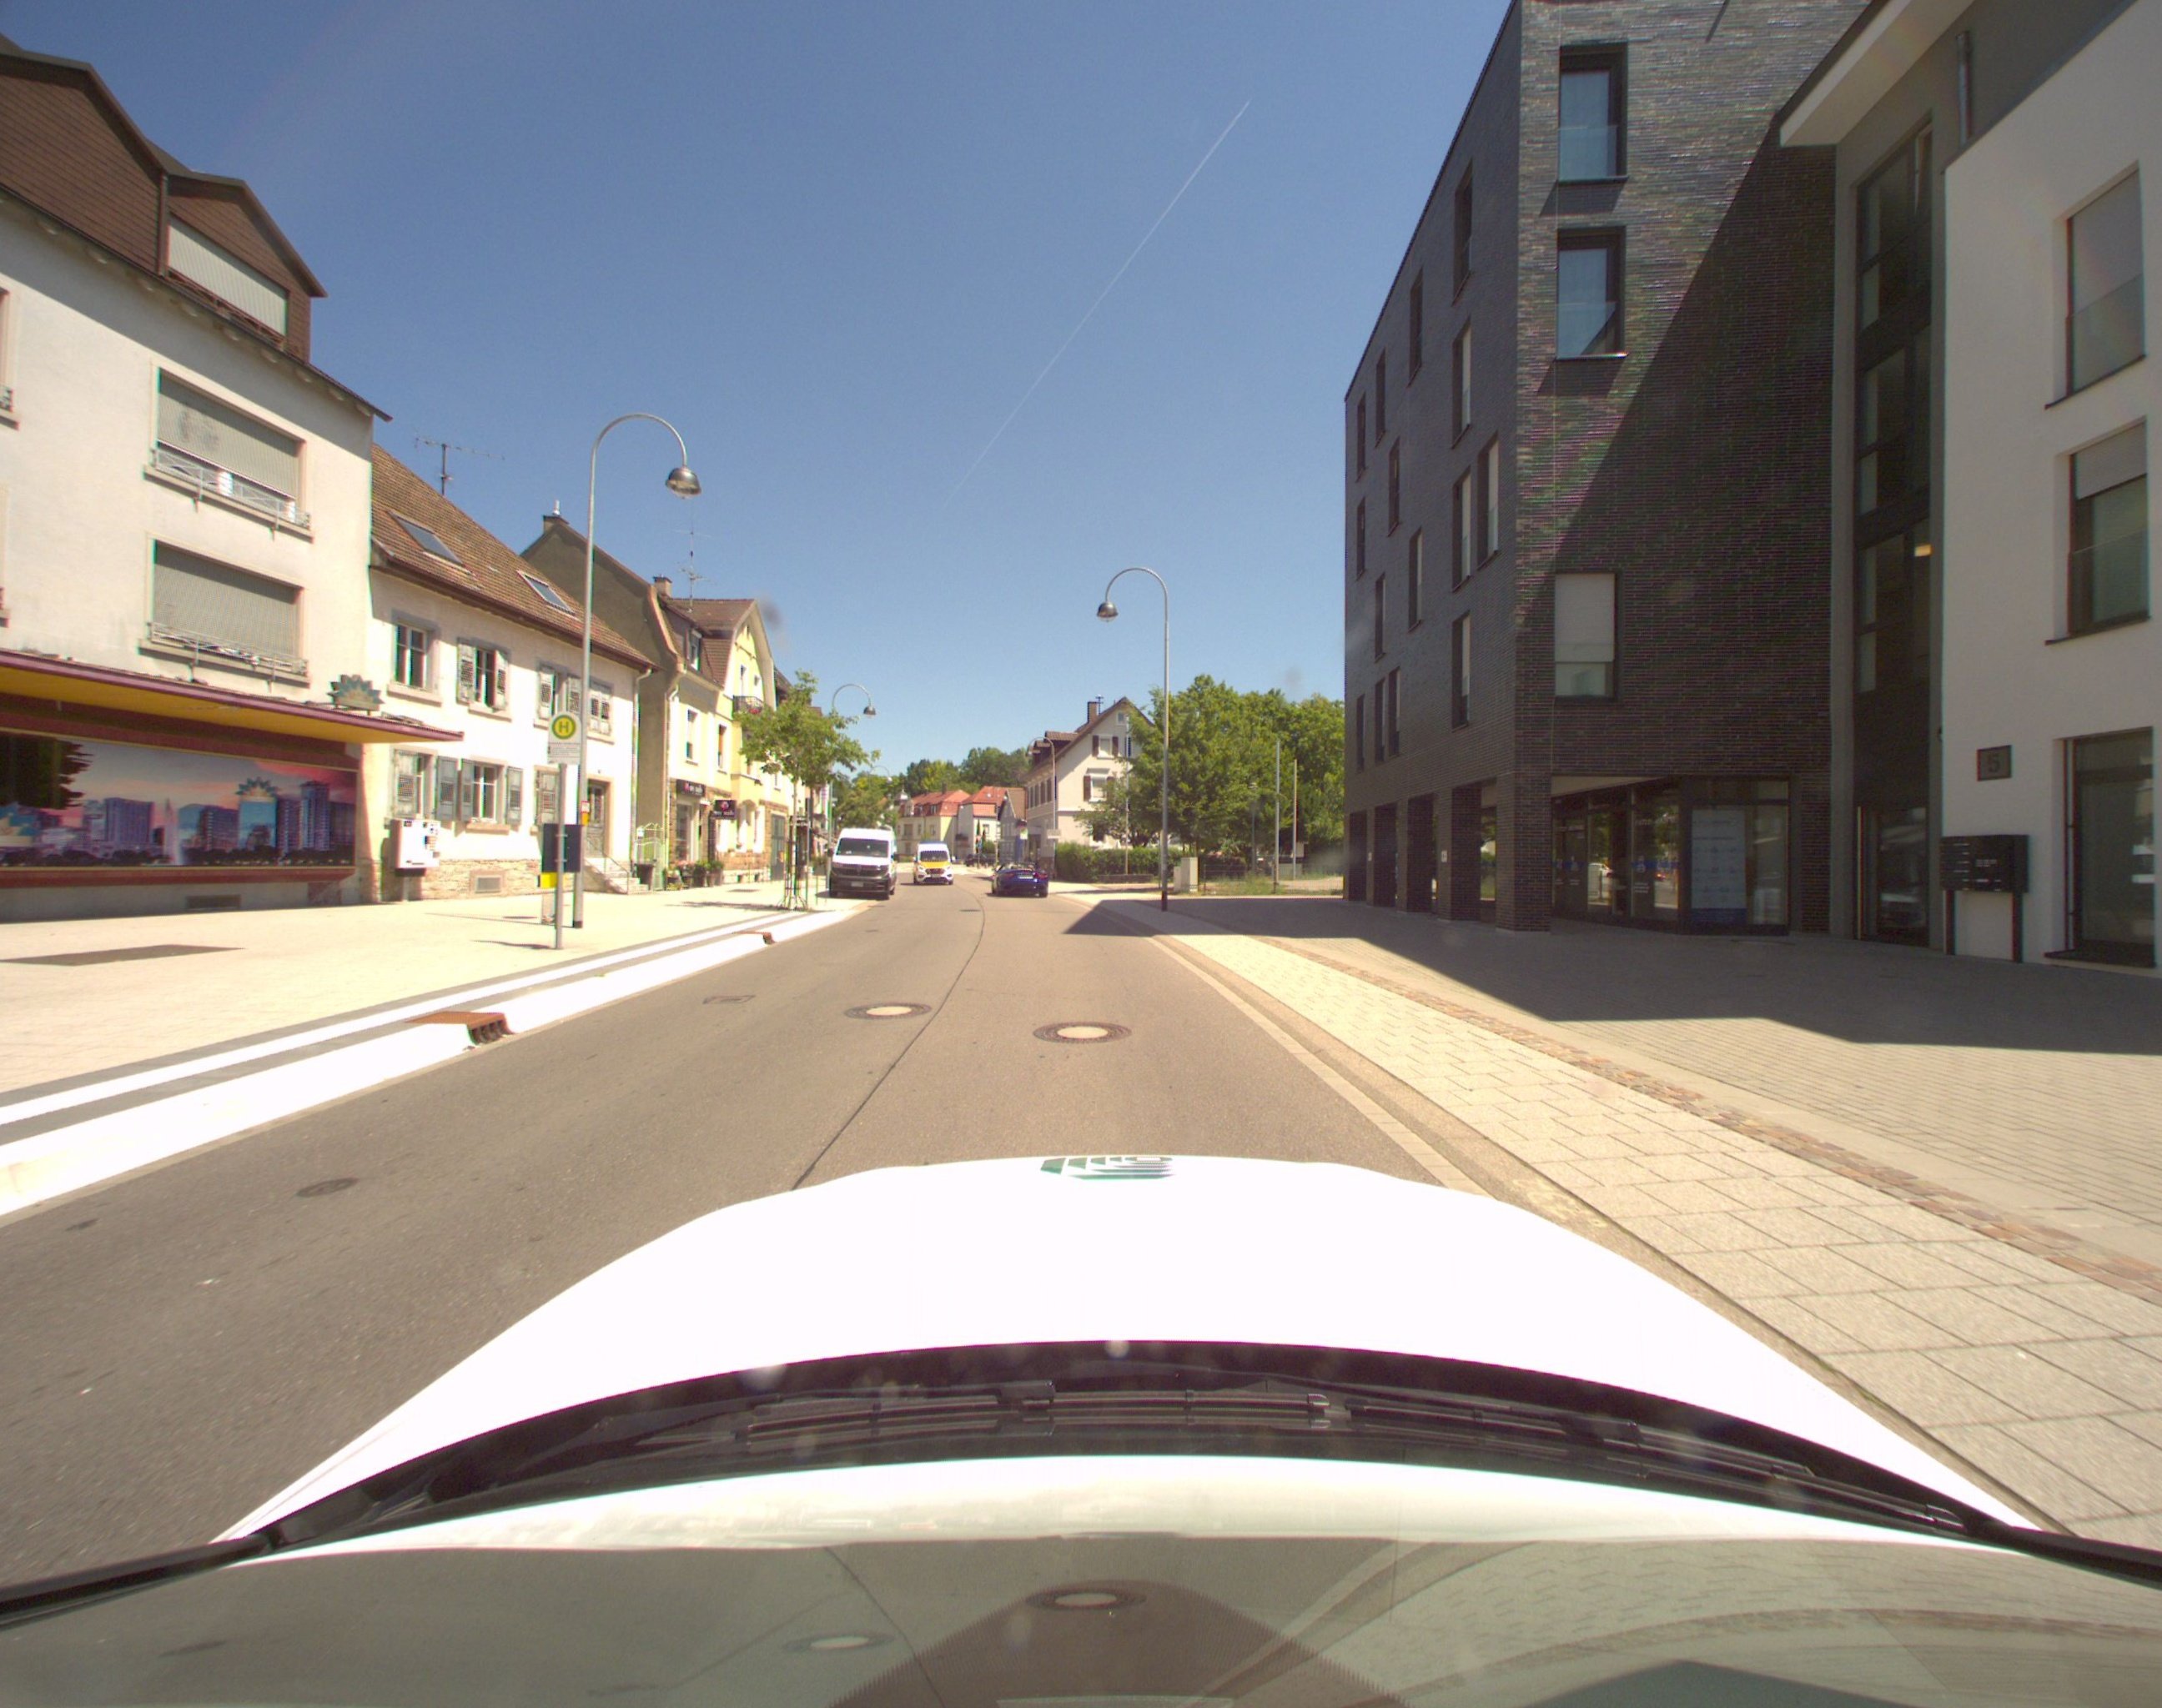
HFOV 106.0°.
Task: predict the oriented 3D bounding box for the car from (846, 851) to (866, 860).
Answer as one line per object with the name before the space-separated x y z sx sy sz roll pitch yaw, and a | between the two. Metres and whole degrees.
car | -40.778 0.334 147.435 1.866 1.588 3.951 -1 0 -43

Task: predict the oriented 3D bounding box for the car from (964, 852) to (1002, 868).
car | -11.038 0.629 91.945 3.968 1.750 1.921 1 -1 5

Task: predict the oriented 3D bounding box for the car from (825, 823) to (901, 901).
car | -7.754 0.287 29.494 2.092 2.498 5.483 2 -1 -10

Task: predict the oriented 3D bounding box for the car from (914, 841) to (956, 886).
car | -8.154 0.492 45.314 2.157 2.362 5.227 -1 0 -11

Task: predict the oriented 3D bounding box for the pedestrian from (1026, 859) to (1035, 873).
pedestrian | -3.737 0.877 60.202 0.591 0.999 0.720 -1 0 -14

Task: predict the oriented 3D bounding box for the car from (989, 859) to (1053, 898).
car | -2.392 0.907 31.550 1.911 1.360 4.268 2 -1 -11
